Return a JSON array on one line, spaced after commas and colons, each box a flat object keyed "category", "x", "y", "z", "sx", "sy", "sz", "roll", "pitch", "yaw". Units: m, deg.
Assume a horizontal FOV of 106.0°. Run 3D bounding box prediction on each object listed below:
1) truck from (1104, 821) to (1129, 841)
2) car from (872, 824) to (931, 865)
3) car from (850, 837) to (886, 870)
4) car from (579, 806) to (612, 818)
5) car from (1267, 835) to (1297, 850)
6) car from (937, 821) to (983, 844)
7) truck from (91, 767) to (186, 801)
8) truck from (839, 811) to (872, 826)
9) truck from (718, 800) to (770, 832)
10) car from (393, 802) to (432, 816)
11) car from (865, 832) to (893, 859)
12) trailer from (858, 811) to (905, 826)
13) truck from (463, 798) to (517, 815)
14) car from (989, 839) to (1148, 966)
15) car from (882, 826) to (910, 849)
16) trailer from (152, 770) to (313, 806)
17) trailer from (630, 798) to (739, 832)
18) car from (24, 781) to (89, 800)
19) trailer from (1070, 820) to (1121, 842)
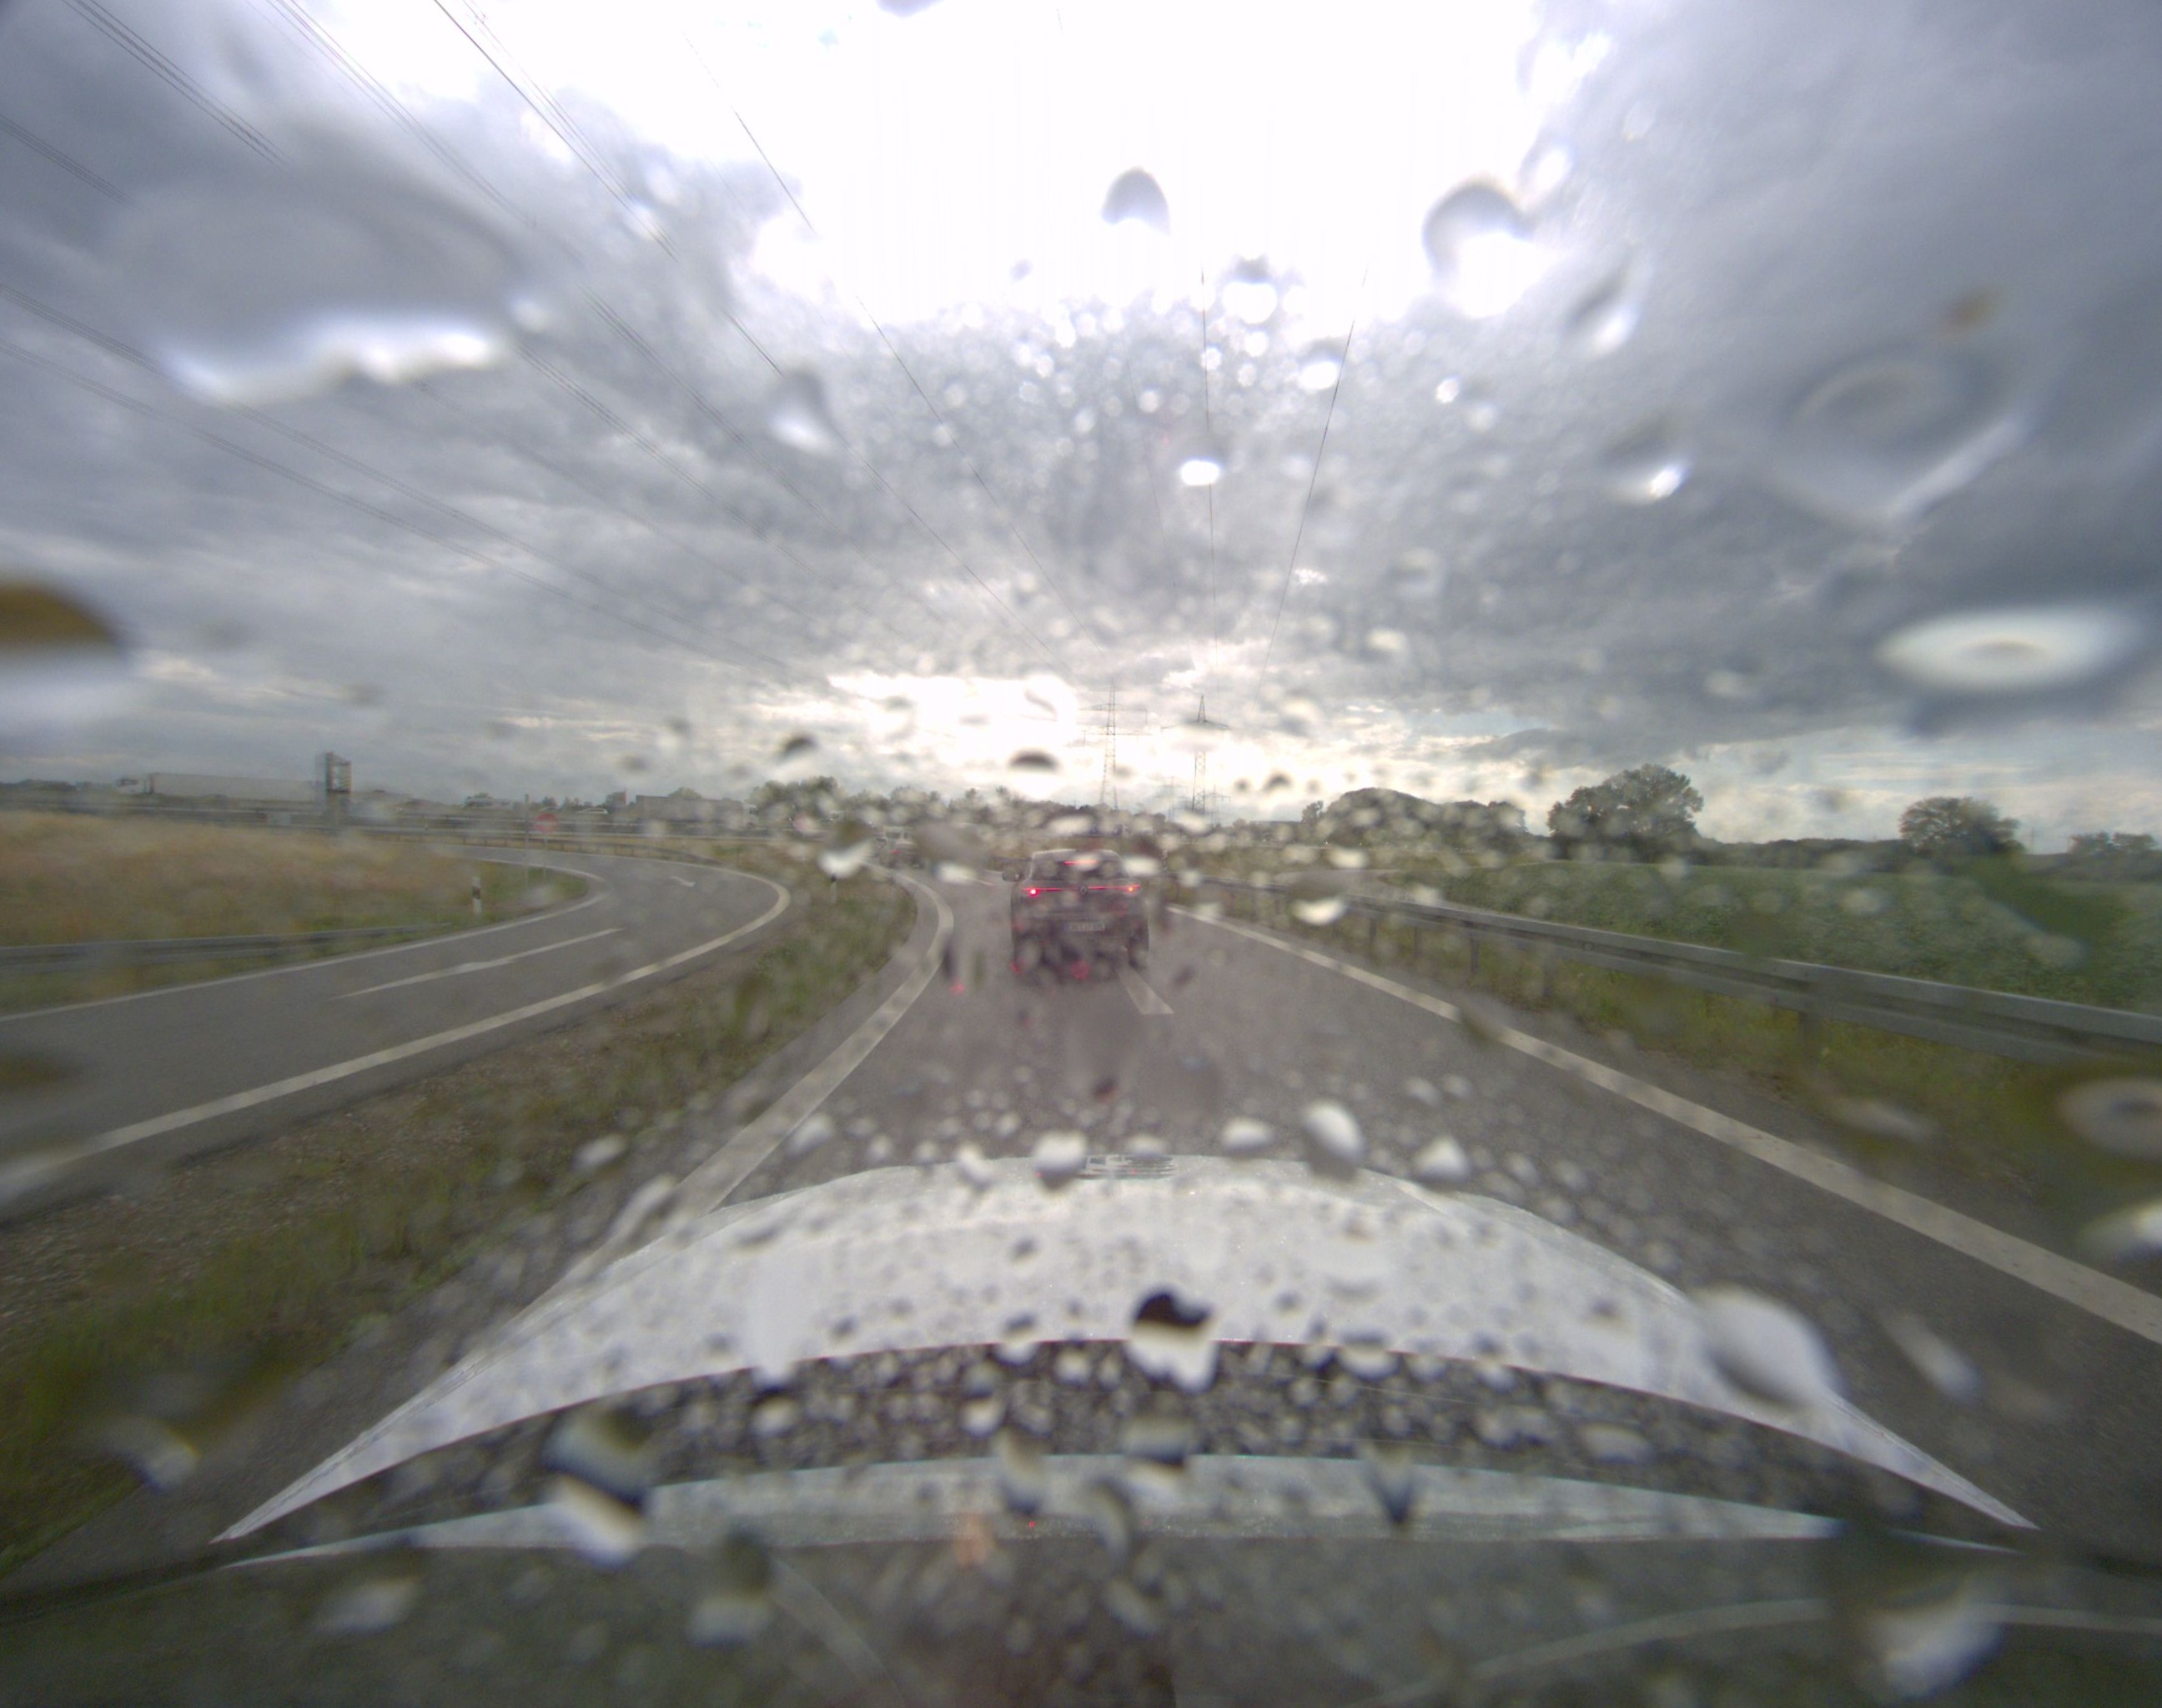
[{"category": "truck", "x": 8.013, "y": -5.180, "z": 185.021, "sx": 3.040, "sy": 4.478, "sz": 5.103, "roll": 4, "pitch": 4, "yaw": 43}, {"category": "car", "x": -9.925, "y": -0.580, "z": 44.721, "sx": 2.131, "sy": 2.017, "sz": 5.493, "roll": 0, "pitch": 3, "yaw": -24}, {"category": "car", "x": -16.588, "y": -0.103, "z": 63.635, "sx": 2.352, "sy": 2.306, "sz": 5.112, "roll": 1, "pitch": 3, "yaw": -10}, {"category": "car", "x": -74.535, "y": -6.437, "z": 125.090, "sx": 1.870, "sy": 1.848, "sz": 4.024, "roll": 4, "pitch": 4, "yaw": 45}, {"category": "car", "x": 50.196, "y": -2.889, "z": 203.554, "sx": 3.351, "sy": 3.610, "sz": 9.100, "roll": 3, "pitch": 1, "yaw": 41}, {"category": "car", "x": -16.787, "y": -3.073, "z": 113.683, "sx": 3.109, "sy": 2.950, "sz": 7.248, "roll": 2, "pitch": 3, "yaw": 21}, {"category": "truck", "x": -114.441, "y": -8.452, "z": 99.023, "sx": 2.790, "sy": 3.540, "sz": 7.424, "roll": 4, "pitch": 2, "yaw": 42}, {"category": "truck", "x": -47.610, "y": -7.552, "z": 172.101, "sx": 2.291, "sy": 3.025, "sz": 6.509, "roll": 4, "pitch": 4, "yaw": 42}, {"category": "truck", "x": -50.125, "y": -5.597, "z": 121.239, "sx": 3.310, "sy": 4.564, "sz": 6.305, "roll": 4, "pitch": 4, "yaw": 44}, {"category": "car", "x": -91.526, "y": -6.151, "z": 111.515, "sx": 1.870, "sy": 1.848, "sz": 4.024, "roll": 4, "pitch": 4, "yaw": 45}, {"category": "car", "x": -19.135, "y": -0.882, "z": 77.286, "sx": 2.353, "sy": 2.306, "sz": 5.109, "roll": 1, "pitch": 3, "yaw": -12}, {"category": "trailer", "x": -43.297, "y": -7.676, "z": 177.047, "sx": 2.291, "sy": 3.025, "sz": 10.550, "roll": 4, "pitch": 4, "yaw": 42}, {"category": "truck", "x": -90.798, "y": -7.318, "z": 125.196, "sx": 1.975, "sy": 2.499, "sz": 6.348, "roll": 4, "pitch": 4, "yaw": 42}, {"category": "car", "x": -0.210, "y": 0.573, "z": 12.388, "sx": 1.988, "sy": 1.566, "sz": 4.146, "roll": -1, "pitch": 1, "yaw": -2}, {"category": "car", "x": -20.325, "y": -1.805, "z": 89.801, "sx": 2.348, "sy": 2.306, "sz": 5.120, "roll": 1, "pitch": 3, "yaw": -6}, {"category": "trailer", "x": -108.969, "y": -8.406, "z": 105.067, "sx": 2.824, "sy": 3.670, "sz": 14.186, "roll": 4, "pitch": 2, "yaw": 42}, {"category": "trailer", "x": -55.900, "y": -5.449, "z": 115.250, "sx": 3.441, "sy": 4.615, "sz": 13.472, "roll": 4, "pitch": 4, "yaw": 44}, {"category": "car", "x": -108.543, "y": -6.678, "z": 86.345, "sx": 1.870, "sy": 1.848, "sz": 4.024, "roll": 4, "pitch": 4, "yaw": 45}, {"category": "trailer", "x": 3.294, "y": -5.022, "z": 179.877, "sx": 3.020, "sy": 4.634, "sz": 13.384, "roll": 4, "pitch": 4, "yaw": 42}]
